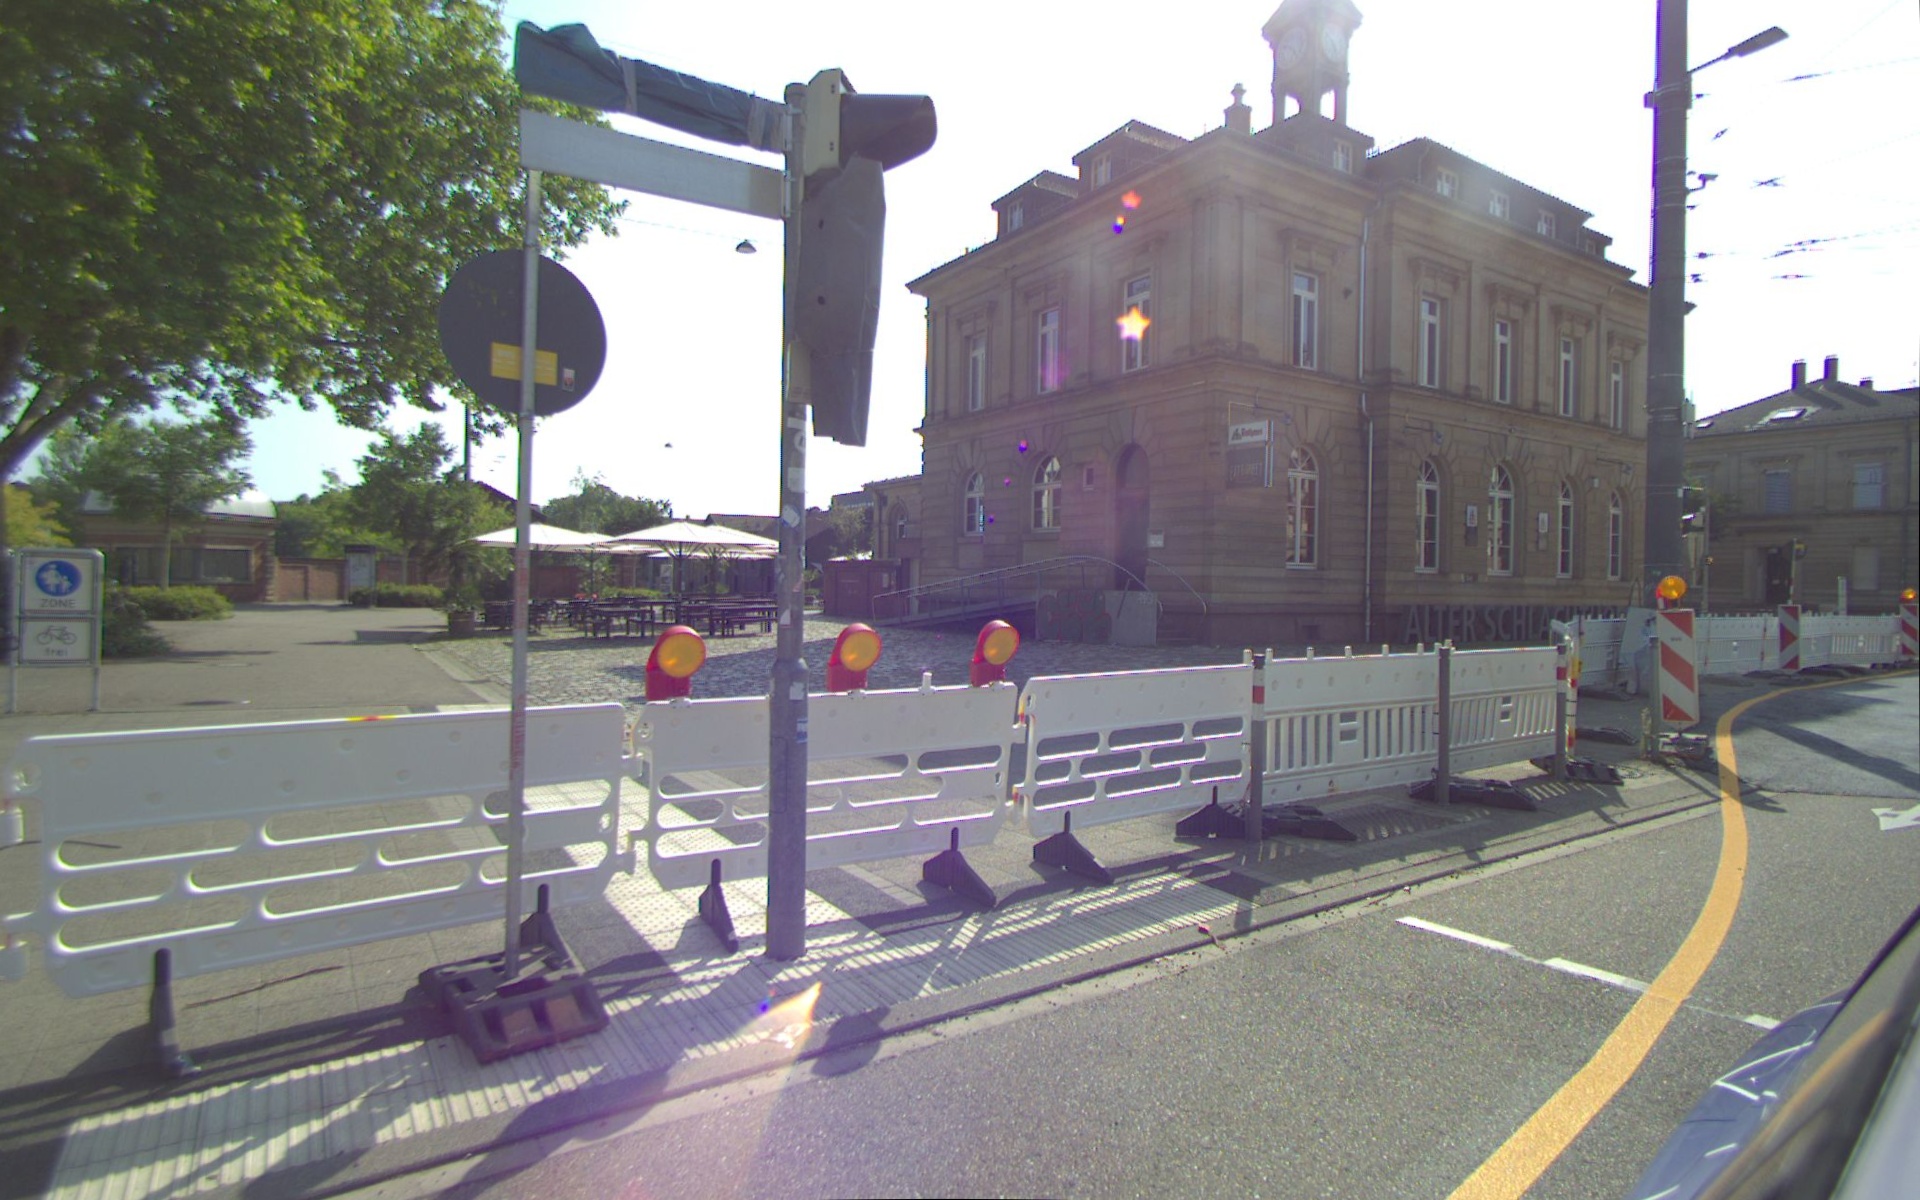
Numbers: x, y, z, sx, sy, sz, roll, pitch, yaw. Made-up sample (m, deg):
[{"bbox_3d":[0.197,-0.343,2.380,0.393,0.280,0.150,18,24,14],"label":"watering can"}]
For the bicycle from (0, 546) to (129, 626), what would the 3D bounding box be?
[{"bbox_3d":[-21.774,-0.335,23.920,3.222,1.824,0.850,0,1,-34],"label":"bicycle"}]

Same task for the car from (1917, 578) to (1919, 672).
[{"bbox_3d":[17.979,0.314,17.131,5.133,1.716,1.998,-1,2,-40],"label":"car"}]
